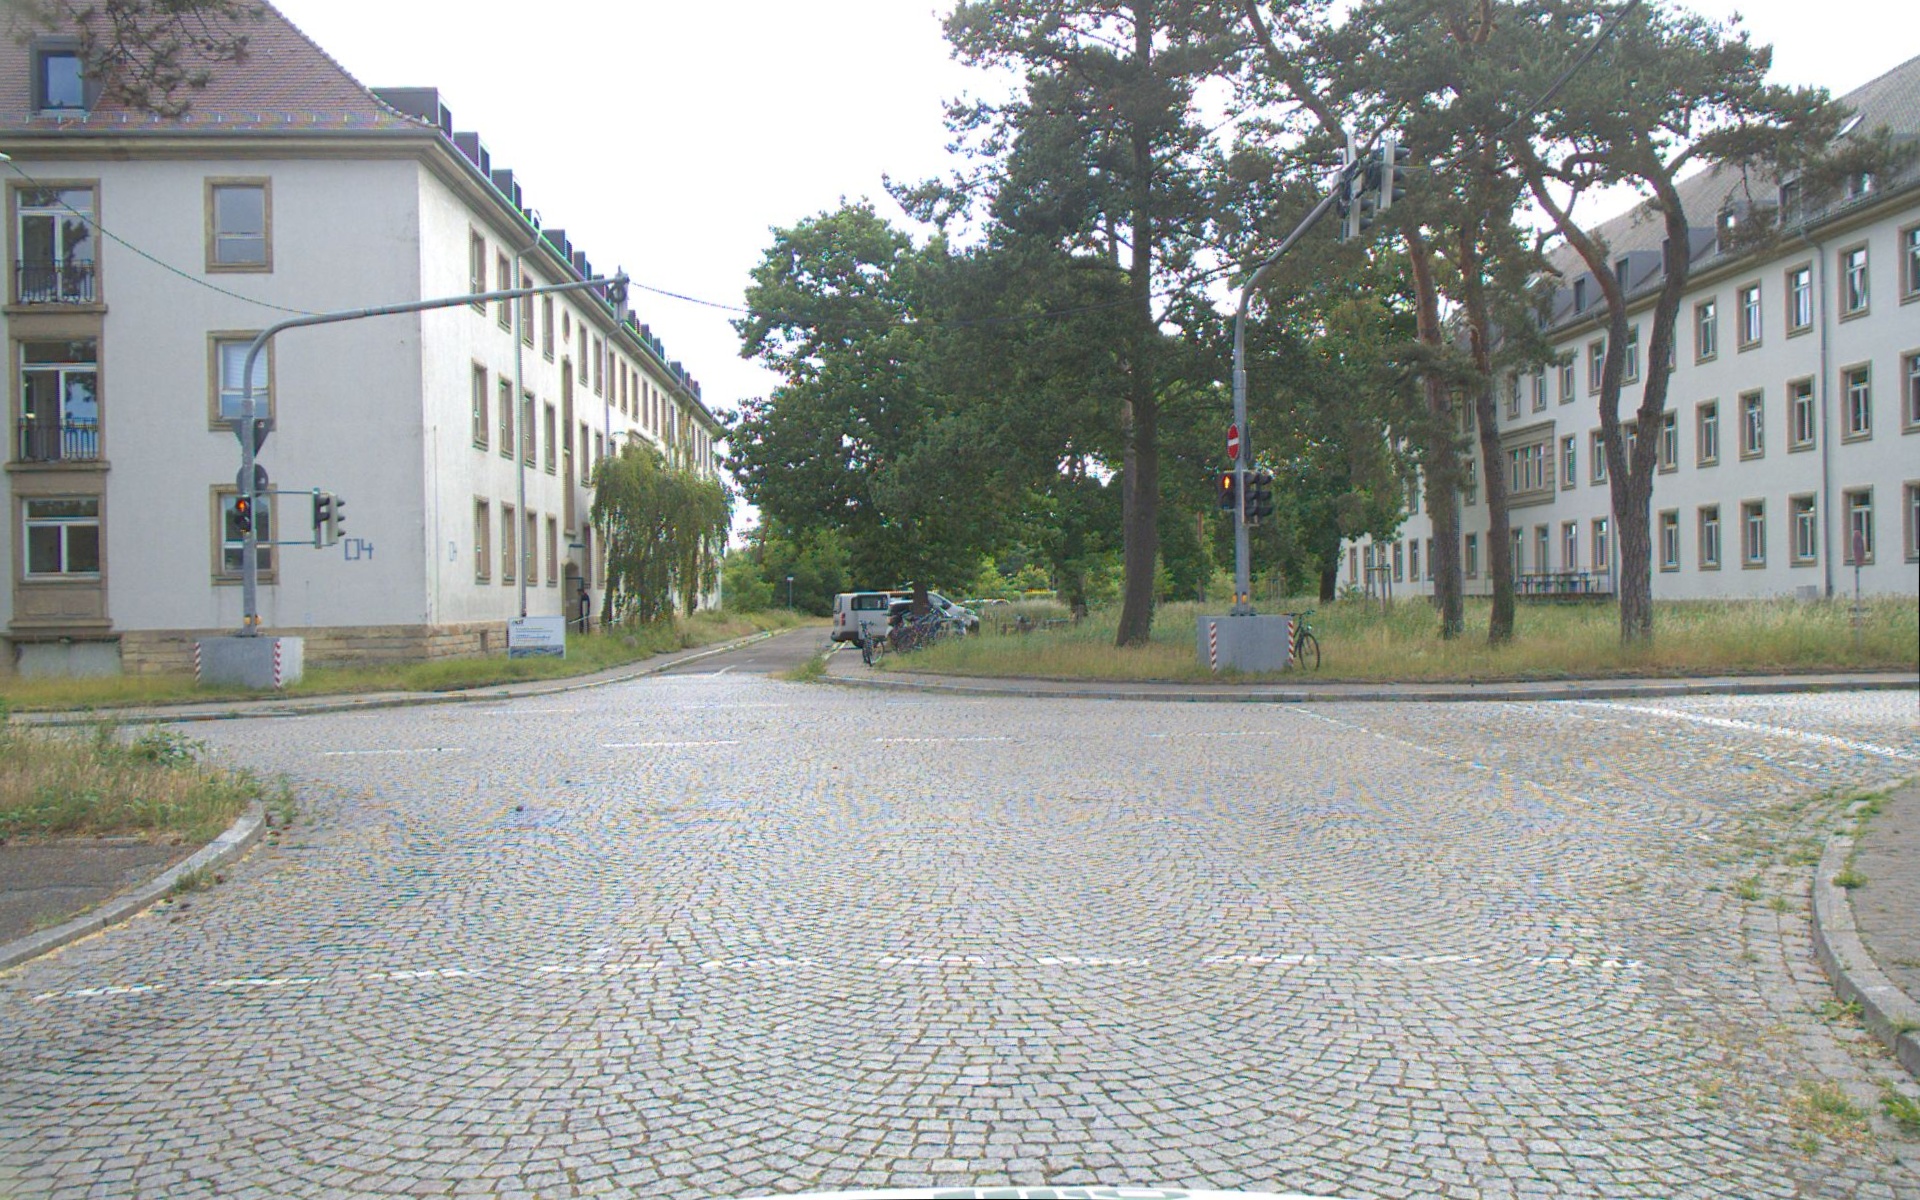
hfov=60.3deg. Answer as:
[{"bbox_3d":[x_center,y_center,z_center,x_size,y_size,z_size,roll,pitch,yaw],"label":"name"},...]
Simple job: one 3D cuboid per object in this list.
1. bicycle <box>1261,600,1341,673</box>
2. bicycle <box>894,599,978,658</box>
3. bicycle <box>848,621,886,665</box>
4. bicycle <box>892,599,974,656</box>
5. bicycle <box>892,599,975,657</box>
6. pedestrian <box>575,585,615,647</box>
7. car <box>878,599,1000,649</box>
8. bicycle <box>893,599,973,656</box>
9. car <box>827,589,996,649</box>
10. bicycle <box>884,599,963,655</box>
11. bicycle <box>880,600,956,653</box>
[{"bbox_3d":[5.856,0.606,28.533,0.890,1.197,1.873,-1,0,-3],"label":"bicycle"},{"bbox_3d":[-0.583,0.686,40.547,2.028,1.402,0.620,-1,0,-2],"label":"bicycle"},{"bbox_3d":[-2.169,0.992,38.683,0.605,0.980,2.078,-1,0,4],"label":"bicycle"},{"bbox_3d":[-0.680,0.697,41.839,2.028,1.402,0.620,-1,0,-2],"label":"bicycle"},{"bbox_3d":[-0.652,0.691,41.215,2.028,1.402,0.620,-1,0,-2],"label":"bicycle"},{"bbox_3d":[-12.256,0.527,55.577,1.064,2.049,1.022,-1,0,3],"label":"pedestrian"},{"bbox_3d":[-0.729,0.787,55.067,3.858,1.571,1.997,-1,0,-7],"label":"car"},{"bbox_3d":[-0.703,0.705,42.635,2.028,1.402,0.620,-1,0,-2],"label":"bicycle"},{"bbox_3d":[-1.739,0.663,58.398,5.597,1.944,2.221,-1,0,-15],"label":"car"},{"bbox_3d":[-0.956,0.707,43.423,2.028,1.402,0.620,-1,0,-2],"label":"bicycle"},{"bbox_3d":[-1.149,0.721,44.901,2.028,1.402,0.620,-1,0,-2],"label":"bicycle"}]
